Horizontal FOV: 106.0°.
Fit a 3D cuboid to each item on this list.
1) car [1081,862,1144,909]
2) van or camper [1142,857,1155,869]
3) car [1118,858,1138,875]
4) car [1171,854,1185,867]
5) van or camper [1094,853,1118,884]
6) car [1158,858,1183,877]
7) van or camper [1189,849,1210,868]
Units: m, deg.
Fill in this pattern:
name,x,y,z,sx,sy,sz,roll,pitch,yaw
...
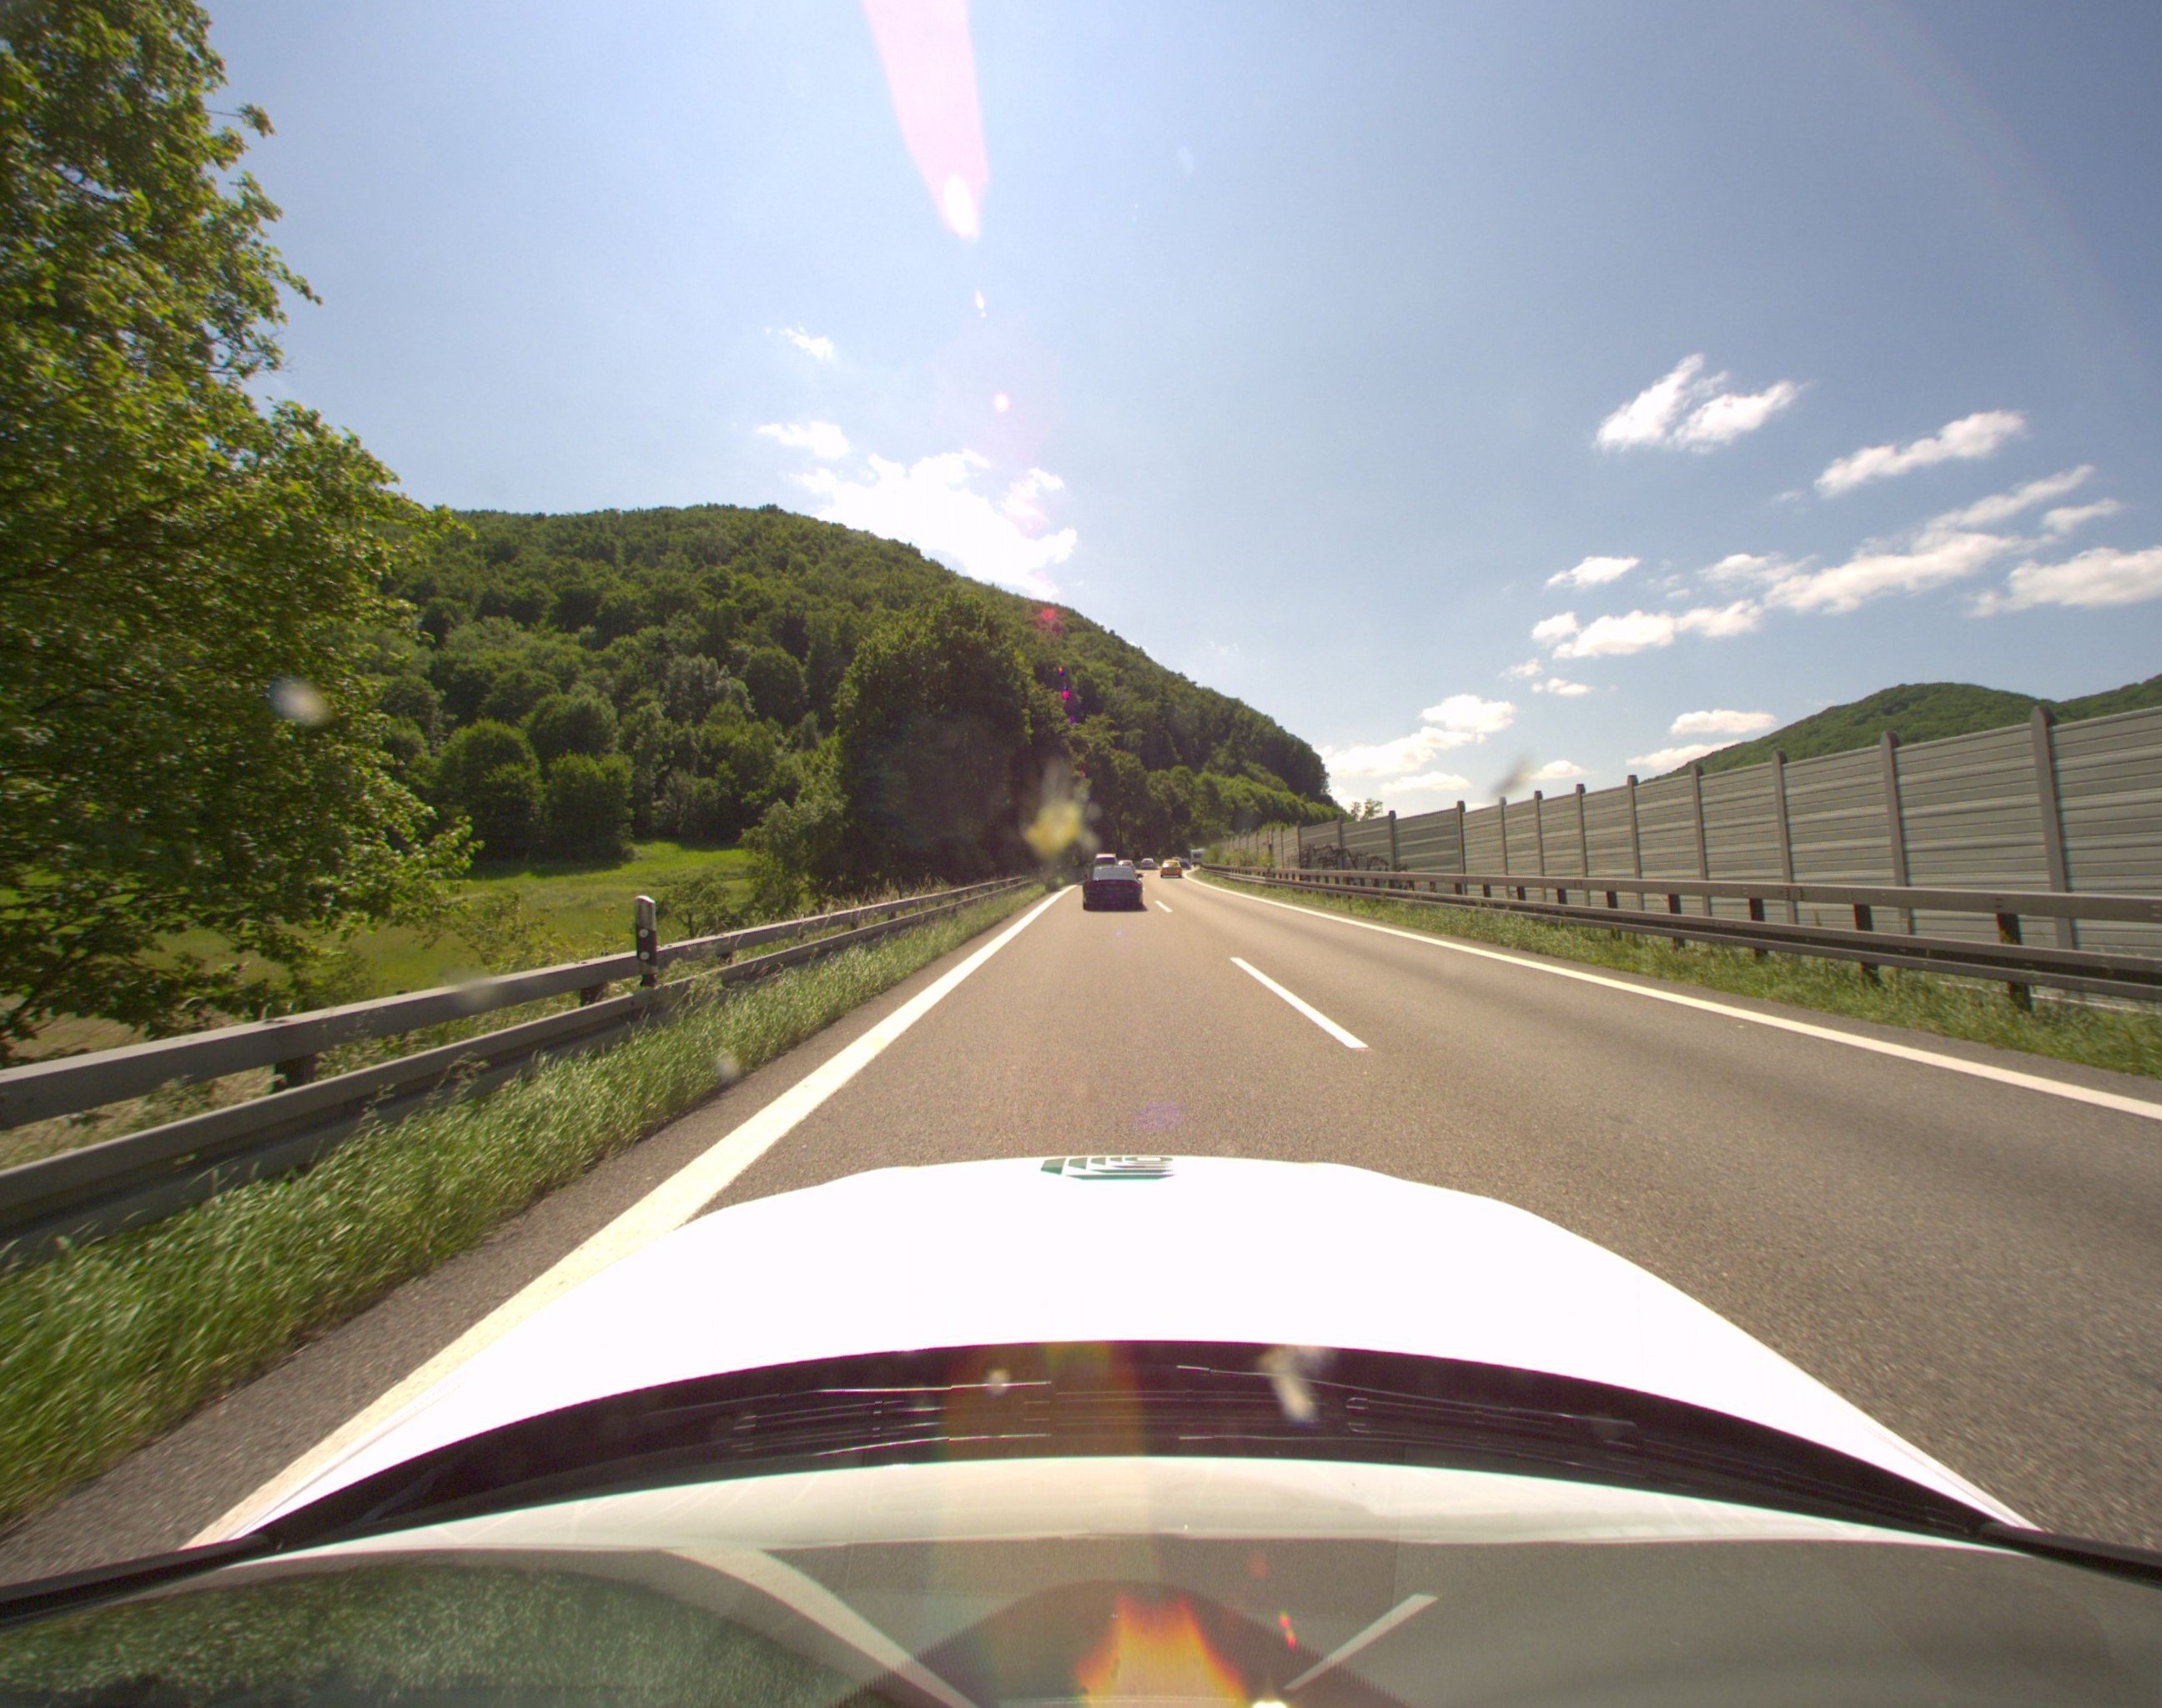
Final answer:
name,x,y,z,sx,sy,sz,roll,pitch,yaw
car,0.999,0.981,26.481,1.831,1.349,4.001,-2,-1,1
van or camper,8.989,1.161,108.082,1.550,1.534,3.510,-2,-1,6
car,4.237,1.153,74.154,1.740,1.431,4.001,-1,-1,2
car,13.021,0.897,109.644,1.764,1.637,4.007,-1,-1,7
van or camper,1.581,0.927,52.118,1.386,1.816,4.001,-1,-1,1
car,7.625,1.157,69.458,1.855,1.488,4.002,-1,-1,2
van or camper,19.031,0.802,130.546,2.436,2.918,6.153,-2,-1,17
